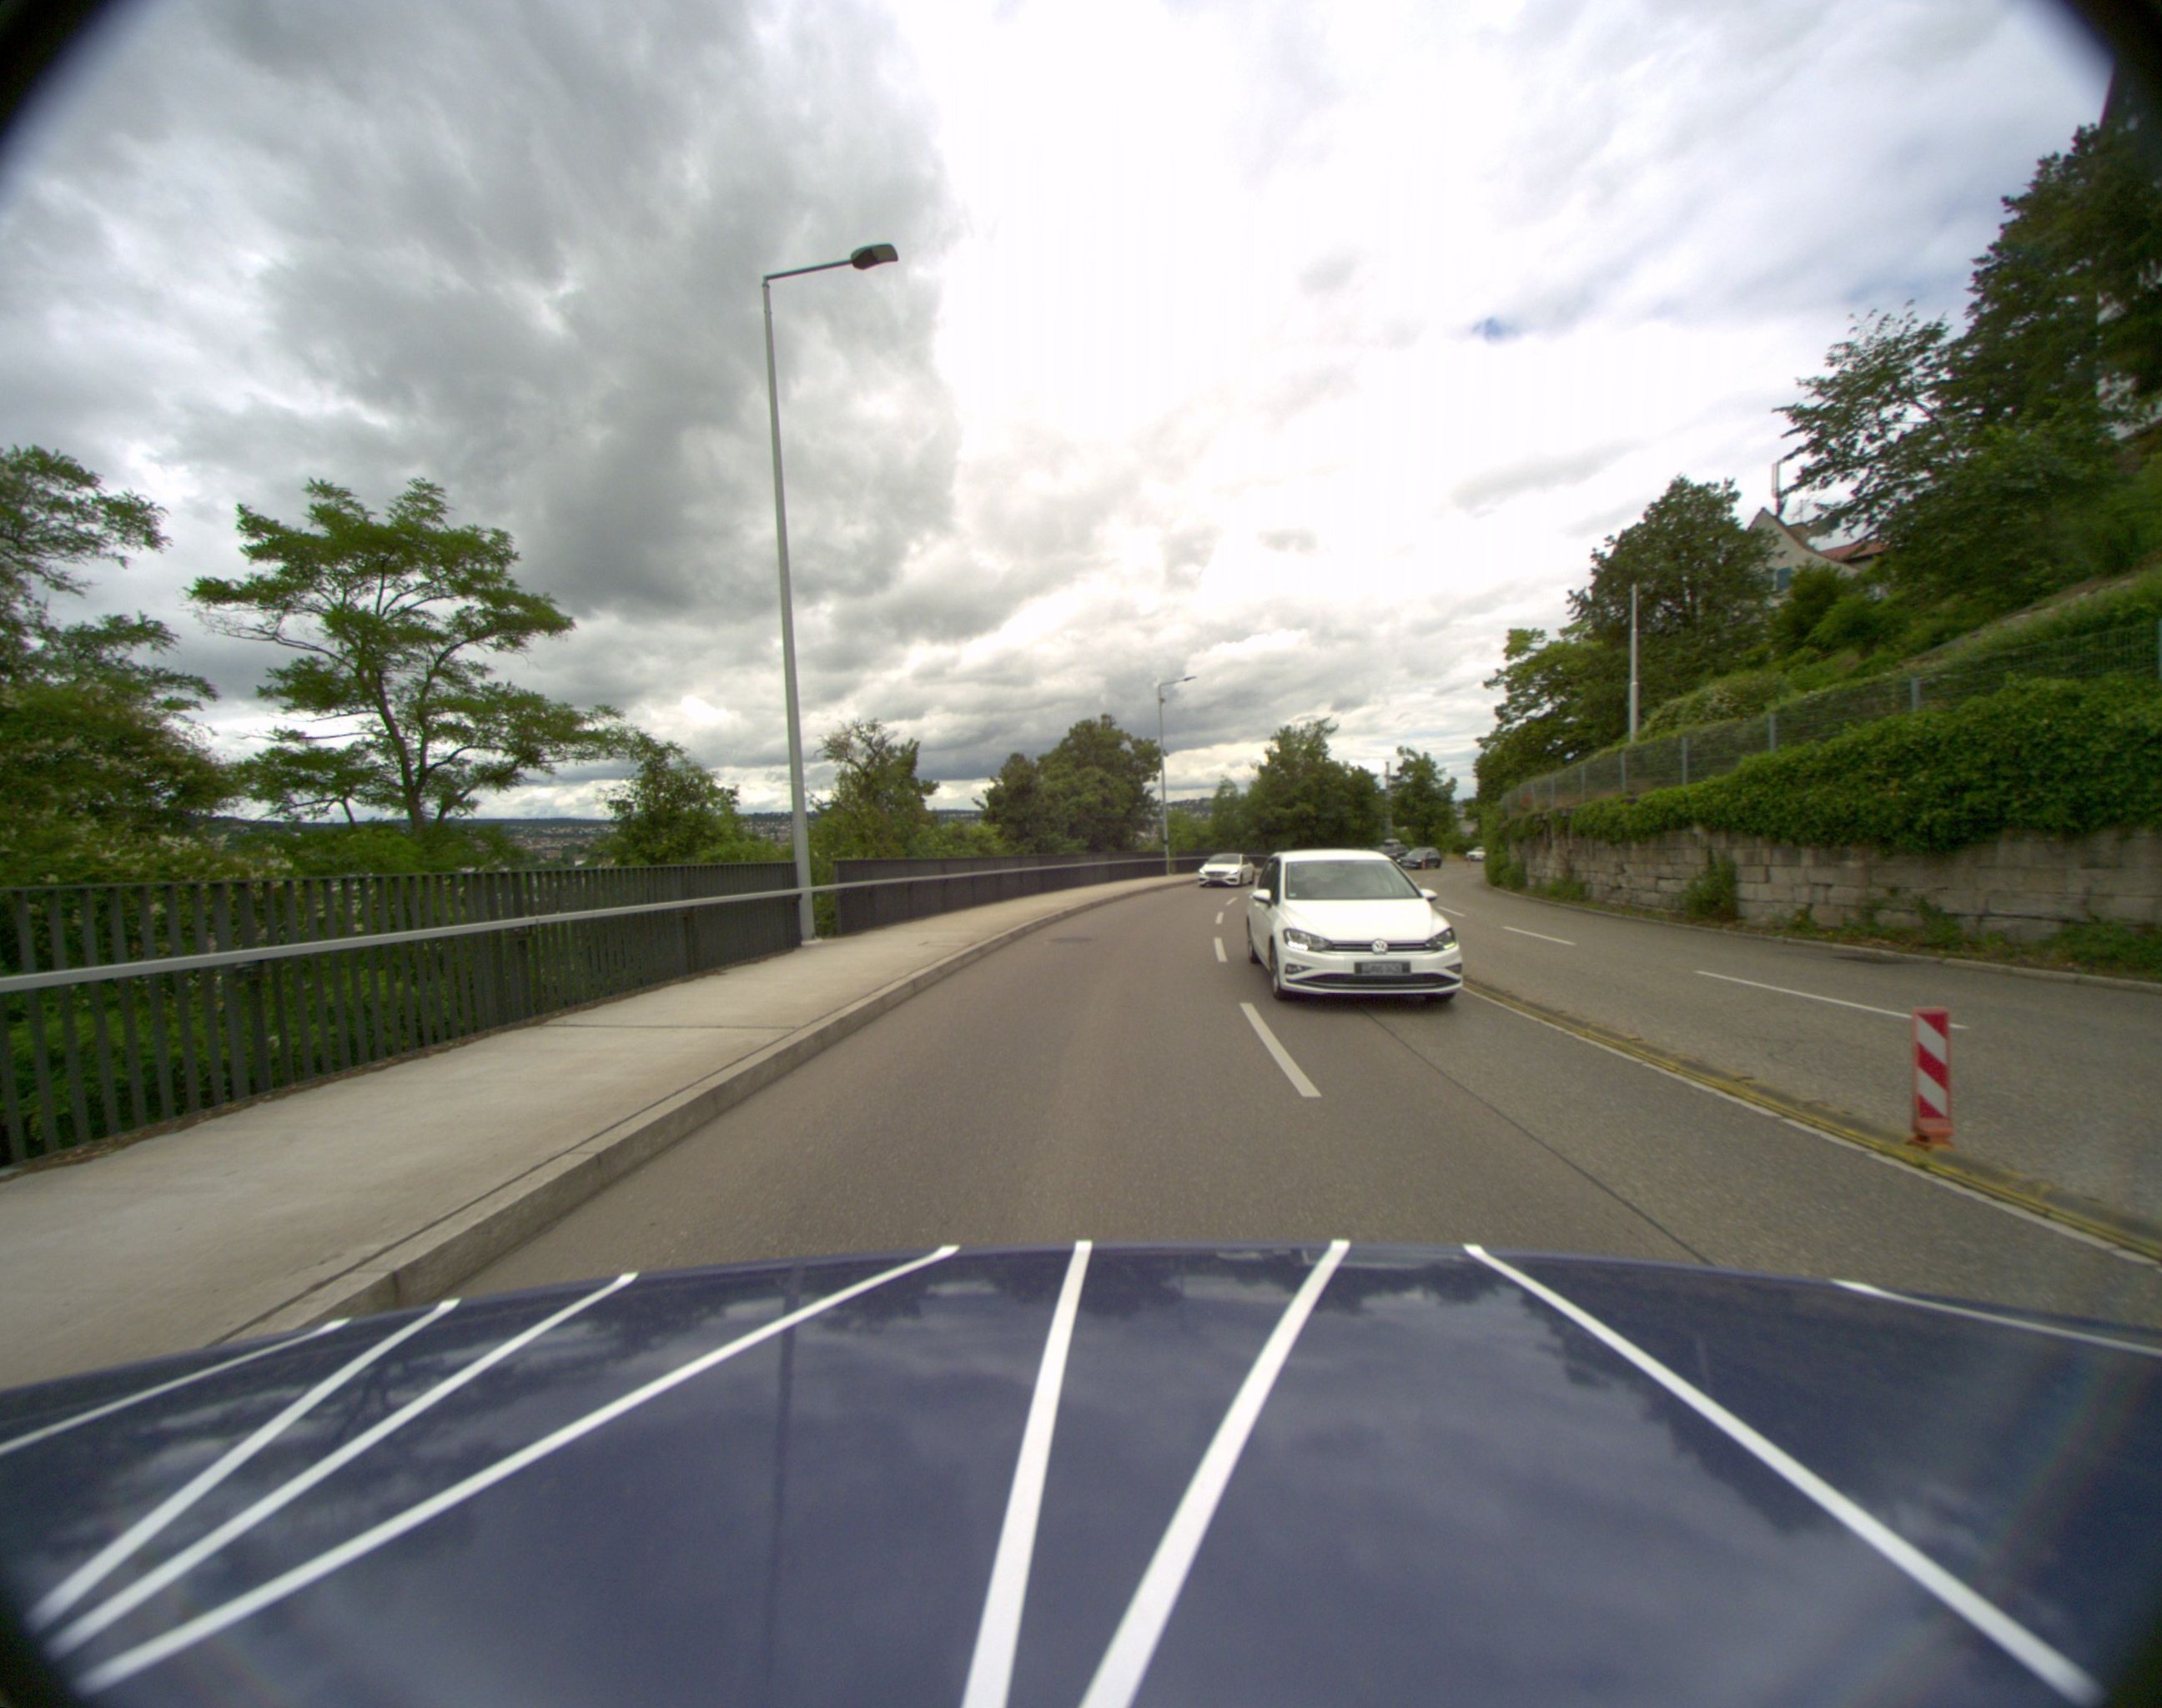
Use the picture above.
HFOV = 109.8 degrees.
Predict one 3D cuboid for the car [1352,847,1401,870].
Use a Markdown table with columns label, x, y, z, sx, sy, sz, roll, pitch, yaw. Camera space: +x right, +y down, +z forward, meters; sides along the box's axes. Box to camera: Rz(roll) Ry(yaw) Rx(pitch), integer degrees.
| label | x | y | z | sx | sy | sz | roll | pitch | yaw |
| --- | --- | --- | --- | --- | --- | --- | --- | --- | --- |
| car | 22.782 | 0.338 | 58.474 | 4.149 | 1.485 | 1.896 | -4 | 3 | -43 |

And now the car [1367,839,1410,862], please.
| label | x | y | z | sx | sy | sz | roll | pitch | yaw |
| --- | --- | --- | --- | --- | --- | --- | --- | --- | --- |
| car | 26.852 | -0.355 | 66.203 | 4.413 | 1.822 | 1.693 | -1 | 4 | -43 |

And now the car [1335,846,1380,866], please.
| label | x | y | z | sx | sy | sz | roll | pitch | yaw |
| --- | --- | --- | --- | --- | --- | --- | --- | --- | --- |
| car | 22.547 | 0.156 | 61.920 | 3.925 | 1.513 | 1.694 | 1 | 1 | -42 |

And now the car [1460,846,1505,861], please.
| label | x | y | z | sx | sy | sz | roll | pitch | yaw |
| --- | --- | --- | --- | --- | --- | --- | --- | --- | --- |
| car | 40.341 | -0.089 | 76.366 | 4.005 | 1.425 | 1.930 | -1 | 2 | -26 |

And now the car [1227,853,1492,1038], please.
| label | x | y | z | sx | sy | sz | roll | pitch | yaw |
| --- | --- | --- | --- | --- | --- | --- | --- | --- | --- |
| car | 2.915 | 0.814 | 9.020 | 1.825 | 1.571 | 4.357 | 2 | 1 | 5 |

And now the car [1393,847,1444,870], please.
| label | x | y | z | sx | sy | sz | roll | pitch | yaw |
| --- | --- | --- | --- | --- | --- | --- | --- | --- | --- |
| car | 25.292 | 0.289 | 56.845 | 4.149 | 1.485 | 1.920 | -4 | 2 | -42 |

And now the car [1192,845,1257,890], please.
| label | x | y | z | sx | sy | sz | roll | pitch | yaw |
| --- | --- | --- | --- | --- | --- | --- | --- | --- | --- |
| car | 6.392 | 0.539 | 33.506 | 1.995 | 1.709 | 4.005 | 1 | 3 | 23 |
